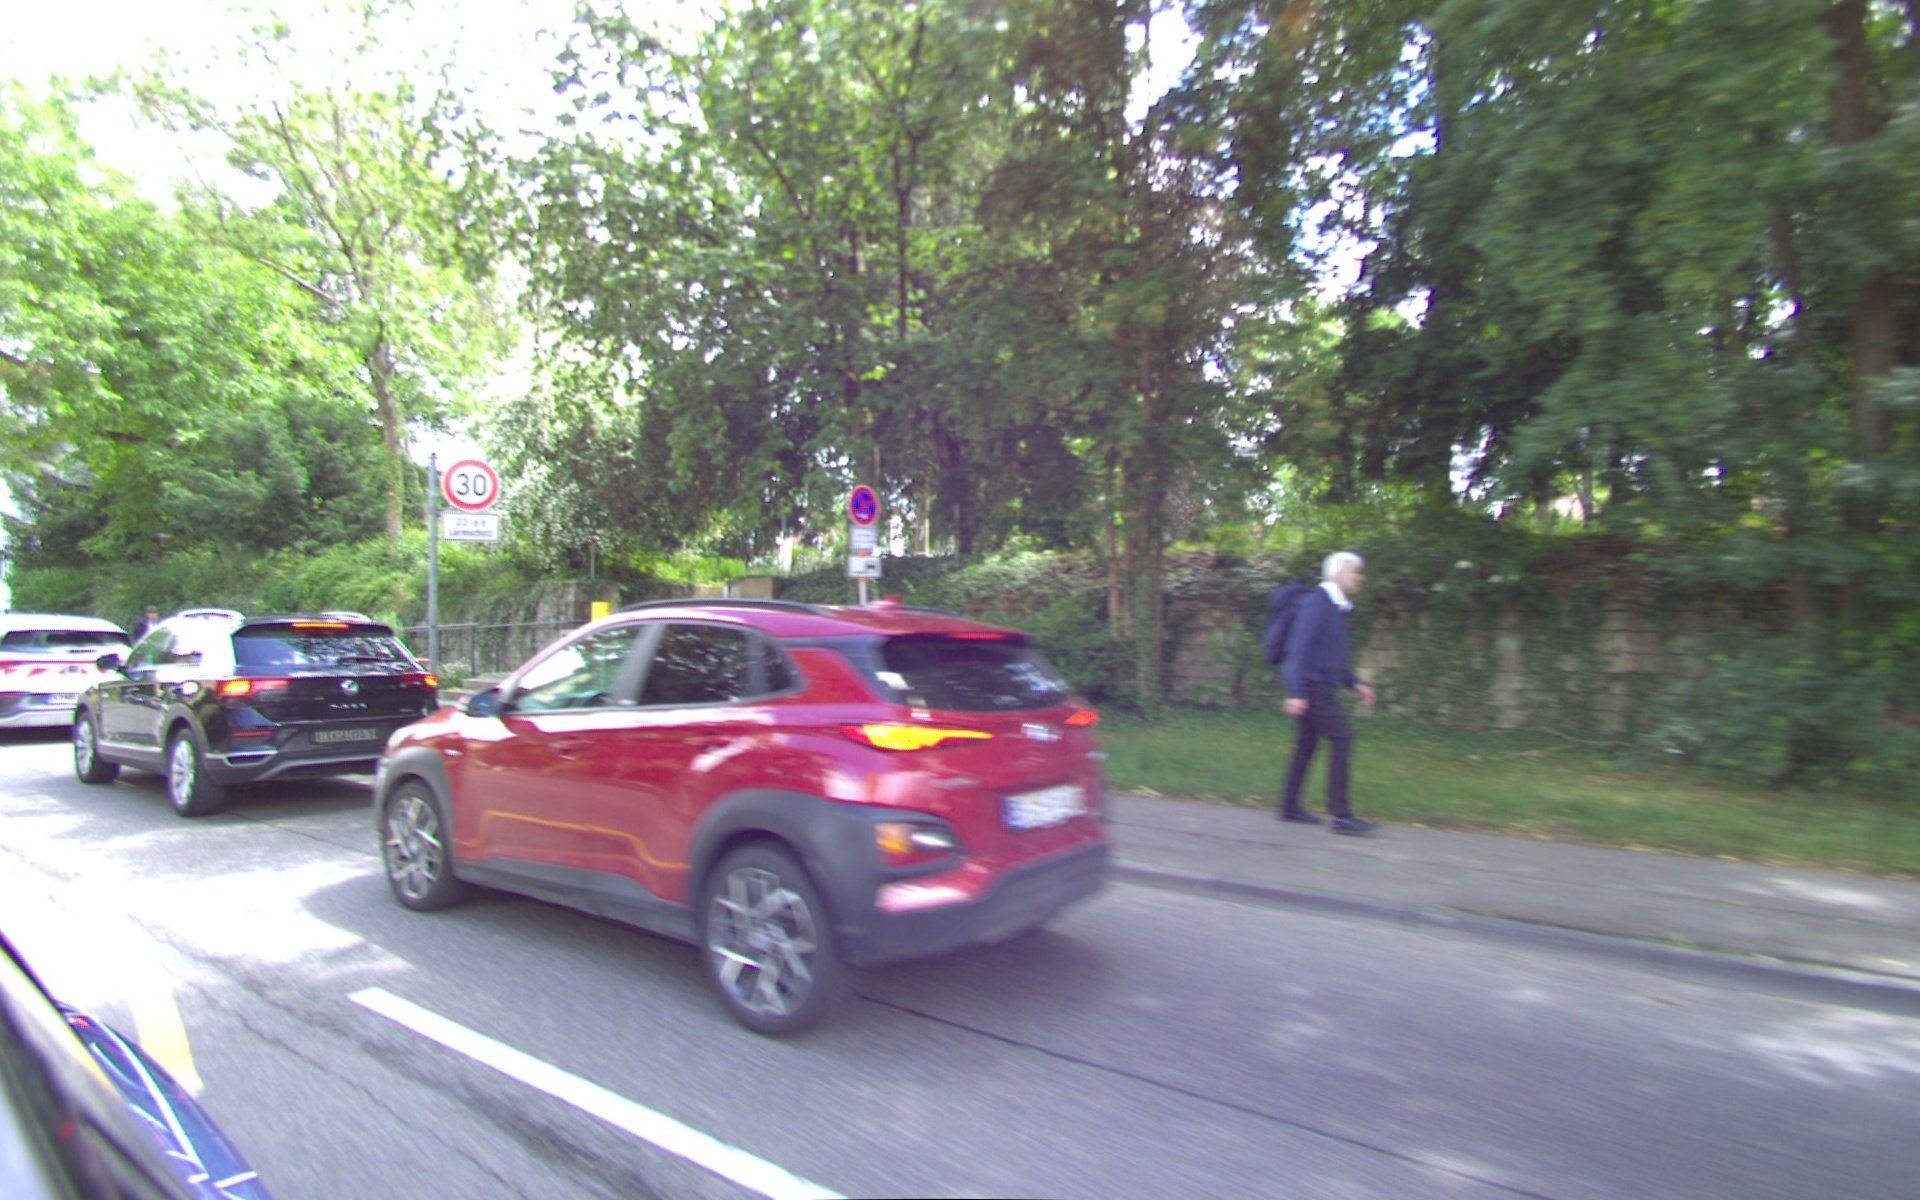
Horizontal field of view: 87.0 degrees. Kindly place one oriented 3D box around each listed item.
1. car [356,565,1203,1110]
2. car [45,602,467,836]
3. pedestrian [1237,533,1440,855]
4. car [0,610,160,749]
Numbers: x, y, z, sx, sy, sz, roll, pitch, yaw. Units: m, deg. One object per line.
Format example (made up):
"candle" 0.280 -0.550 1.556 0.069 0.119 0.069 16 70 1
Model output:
"car" -1.067 0.739 4.860 3.995 1.568 1.759 -1 -3 37
"car" -6.208 0.842 8.804 3.961 1.603 1.742 0 -2 35
"pedestrian" 2.434 0.545 6.507 1.020 1.861 0.825 0 0 38
"car" -12.314 0.949 13.271 3.995 1.603 1.742 0 -3 35
